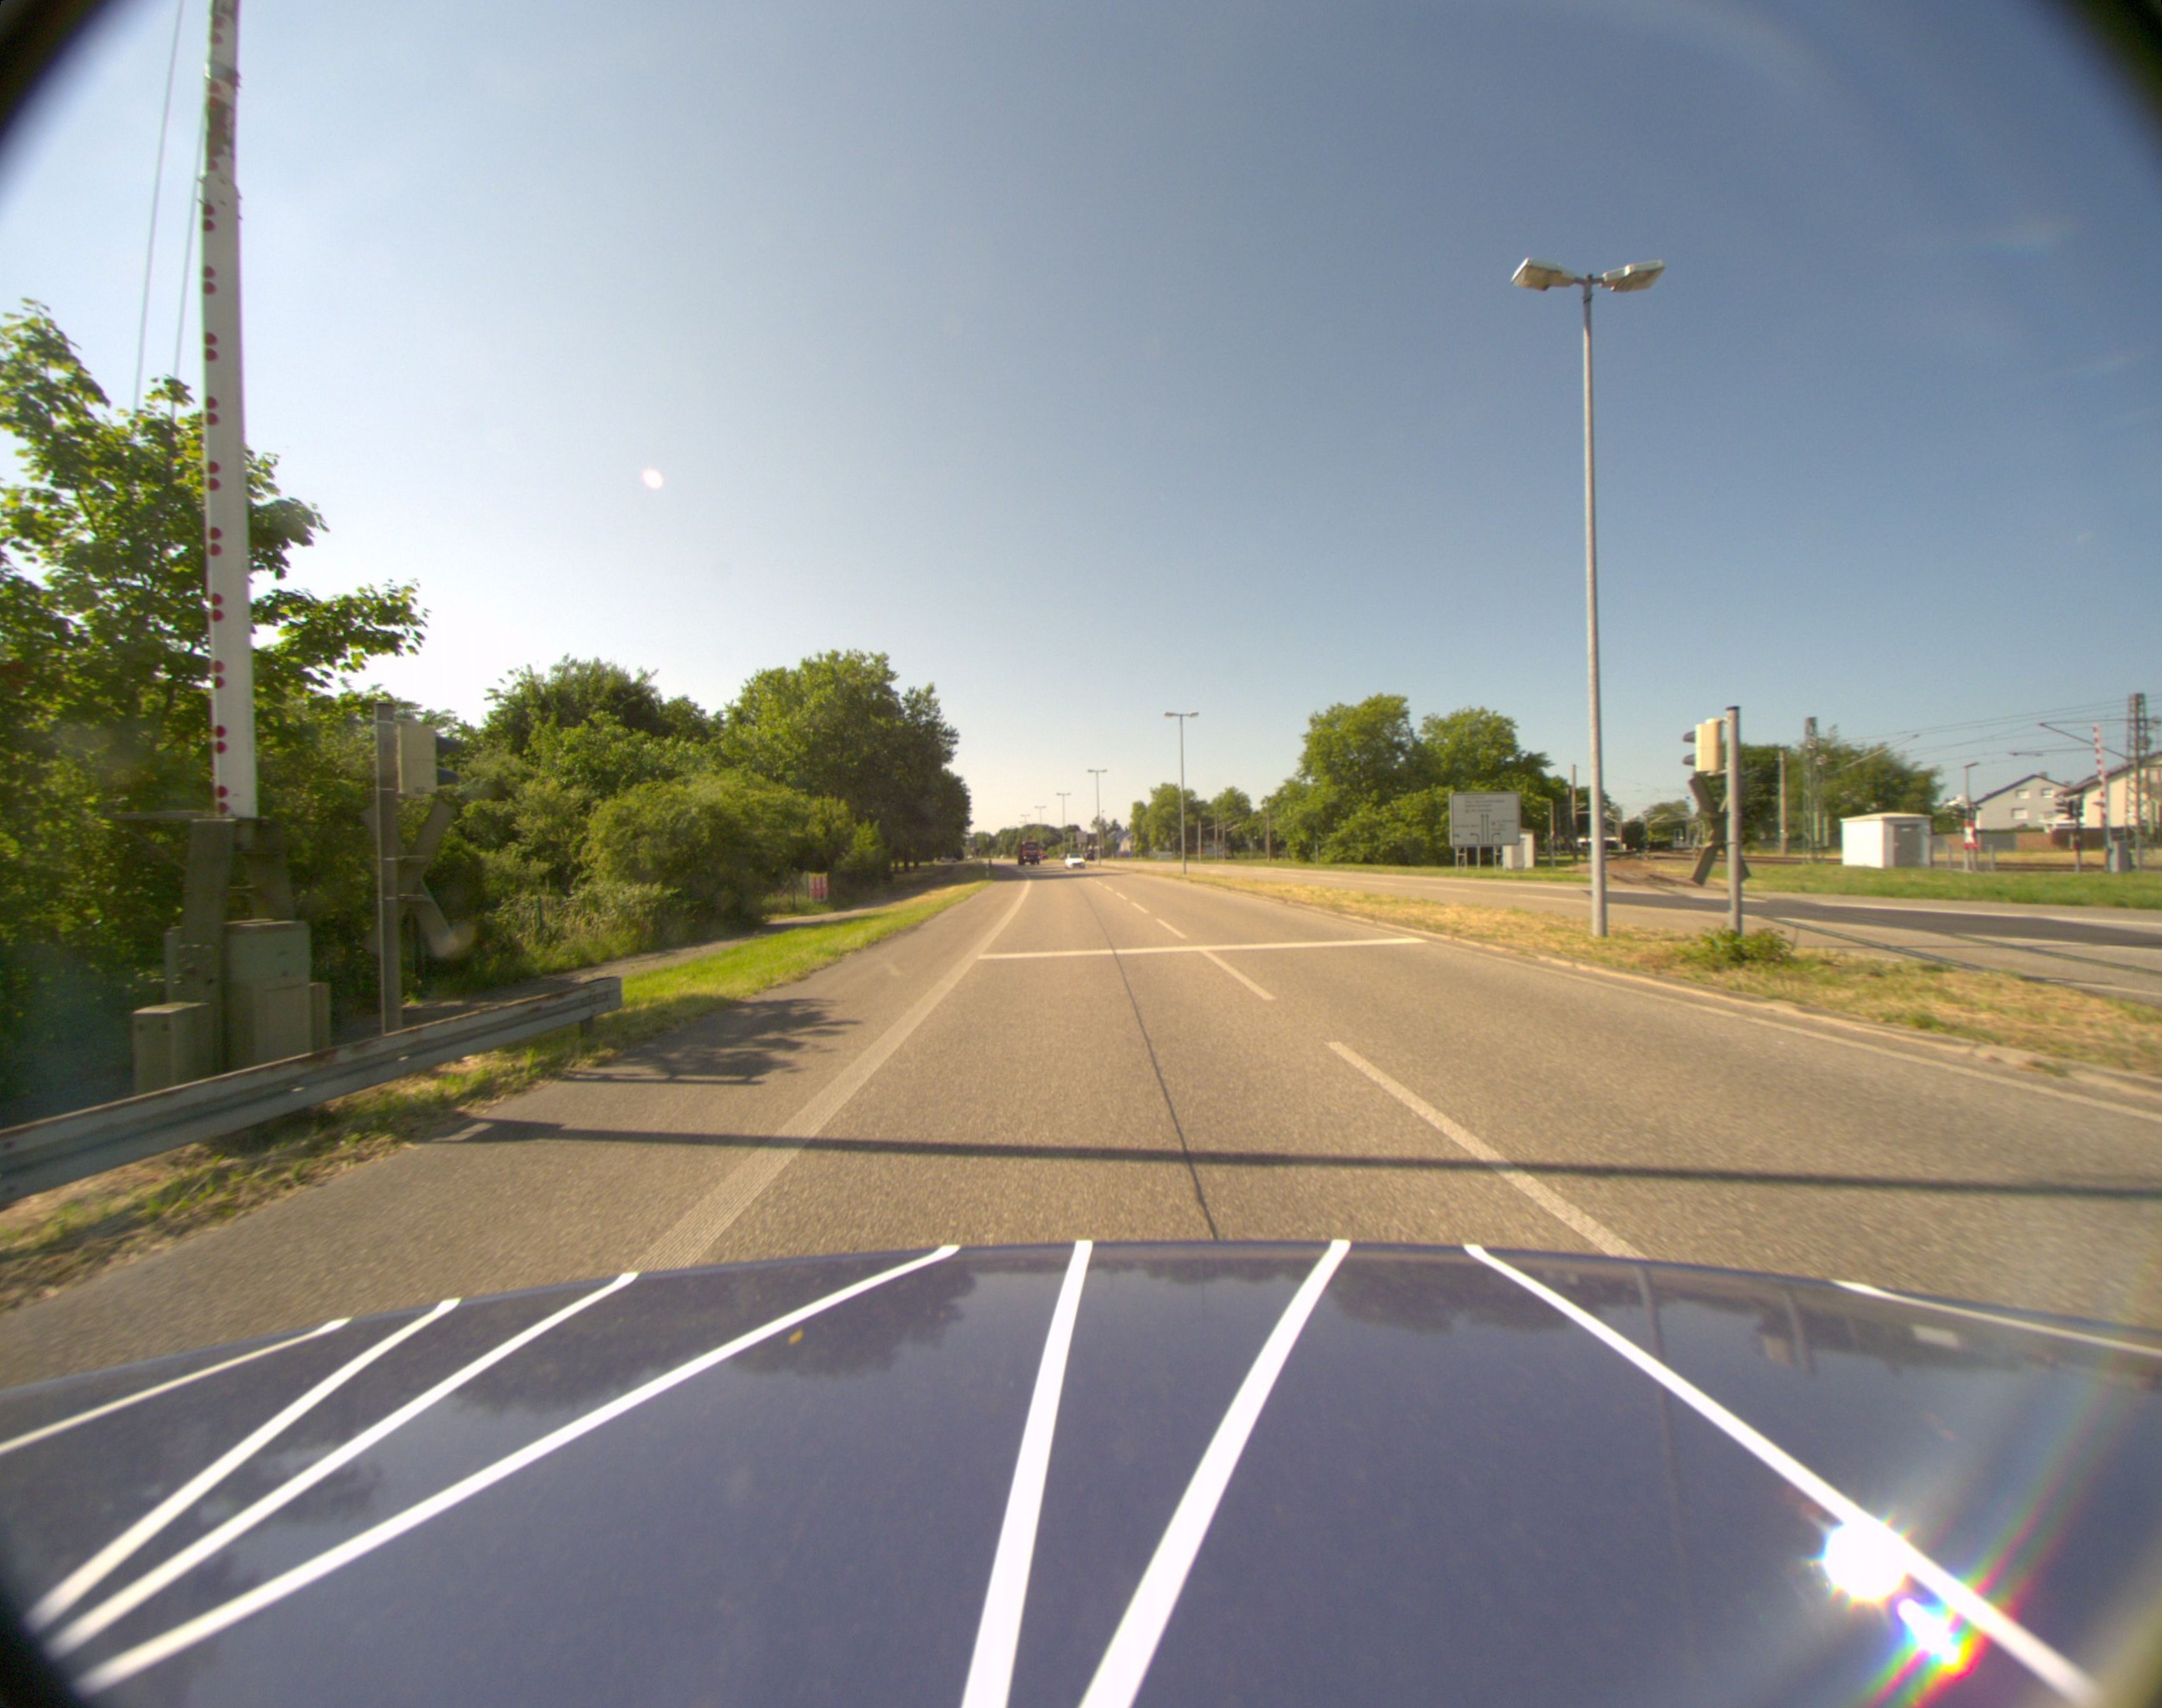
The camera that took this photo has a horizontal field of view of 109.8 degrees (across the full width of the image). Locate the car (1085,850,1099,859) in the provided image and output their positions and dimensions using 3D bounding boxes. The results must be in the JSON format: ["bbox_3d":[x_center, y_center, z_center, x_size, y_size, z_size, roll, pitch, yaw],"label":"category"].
[{"bbox_3d":[2.029,0.039,146.081,1.989,1.650,4.551,-1,0,-9],"label":"car"}]

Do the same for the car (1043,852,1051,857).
[{"bbox_3d":[-9.626,0.132,215.414,1.869,1.536,4.402,0,0,-10],"label":"car"}]

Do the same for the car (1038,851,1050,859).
[{"bbox_3d":[-8.094,0.139,166.150,1.988,1.740,4.504,-1,0,-9],"label":"car"}]

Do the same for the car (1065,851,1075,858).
[{"bbox_3d":[-2.648,0.089,178.761,1.837,1.457,4.466,-1,0,-7],"label":"car"}]

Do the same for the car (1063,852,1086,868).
[{"bbox_3d":[-0.659,0.550,75.832,1.870,1.499,4.334,-1,1,-5],"label":"car"}]

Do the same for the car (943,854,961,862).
[{"bbox_3d":[-31.169,0.904,183.315,4.065,1.555,1.741,-5,1,-10],"label":"car"}]

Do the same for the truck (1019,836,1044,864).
[{"bbox_3d":[-7.278,-0.603,111.917,2.943,3.852,6.585,-1,0,-9],"label":"truck"}]
